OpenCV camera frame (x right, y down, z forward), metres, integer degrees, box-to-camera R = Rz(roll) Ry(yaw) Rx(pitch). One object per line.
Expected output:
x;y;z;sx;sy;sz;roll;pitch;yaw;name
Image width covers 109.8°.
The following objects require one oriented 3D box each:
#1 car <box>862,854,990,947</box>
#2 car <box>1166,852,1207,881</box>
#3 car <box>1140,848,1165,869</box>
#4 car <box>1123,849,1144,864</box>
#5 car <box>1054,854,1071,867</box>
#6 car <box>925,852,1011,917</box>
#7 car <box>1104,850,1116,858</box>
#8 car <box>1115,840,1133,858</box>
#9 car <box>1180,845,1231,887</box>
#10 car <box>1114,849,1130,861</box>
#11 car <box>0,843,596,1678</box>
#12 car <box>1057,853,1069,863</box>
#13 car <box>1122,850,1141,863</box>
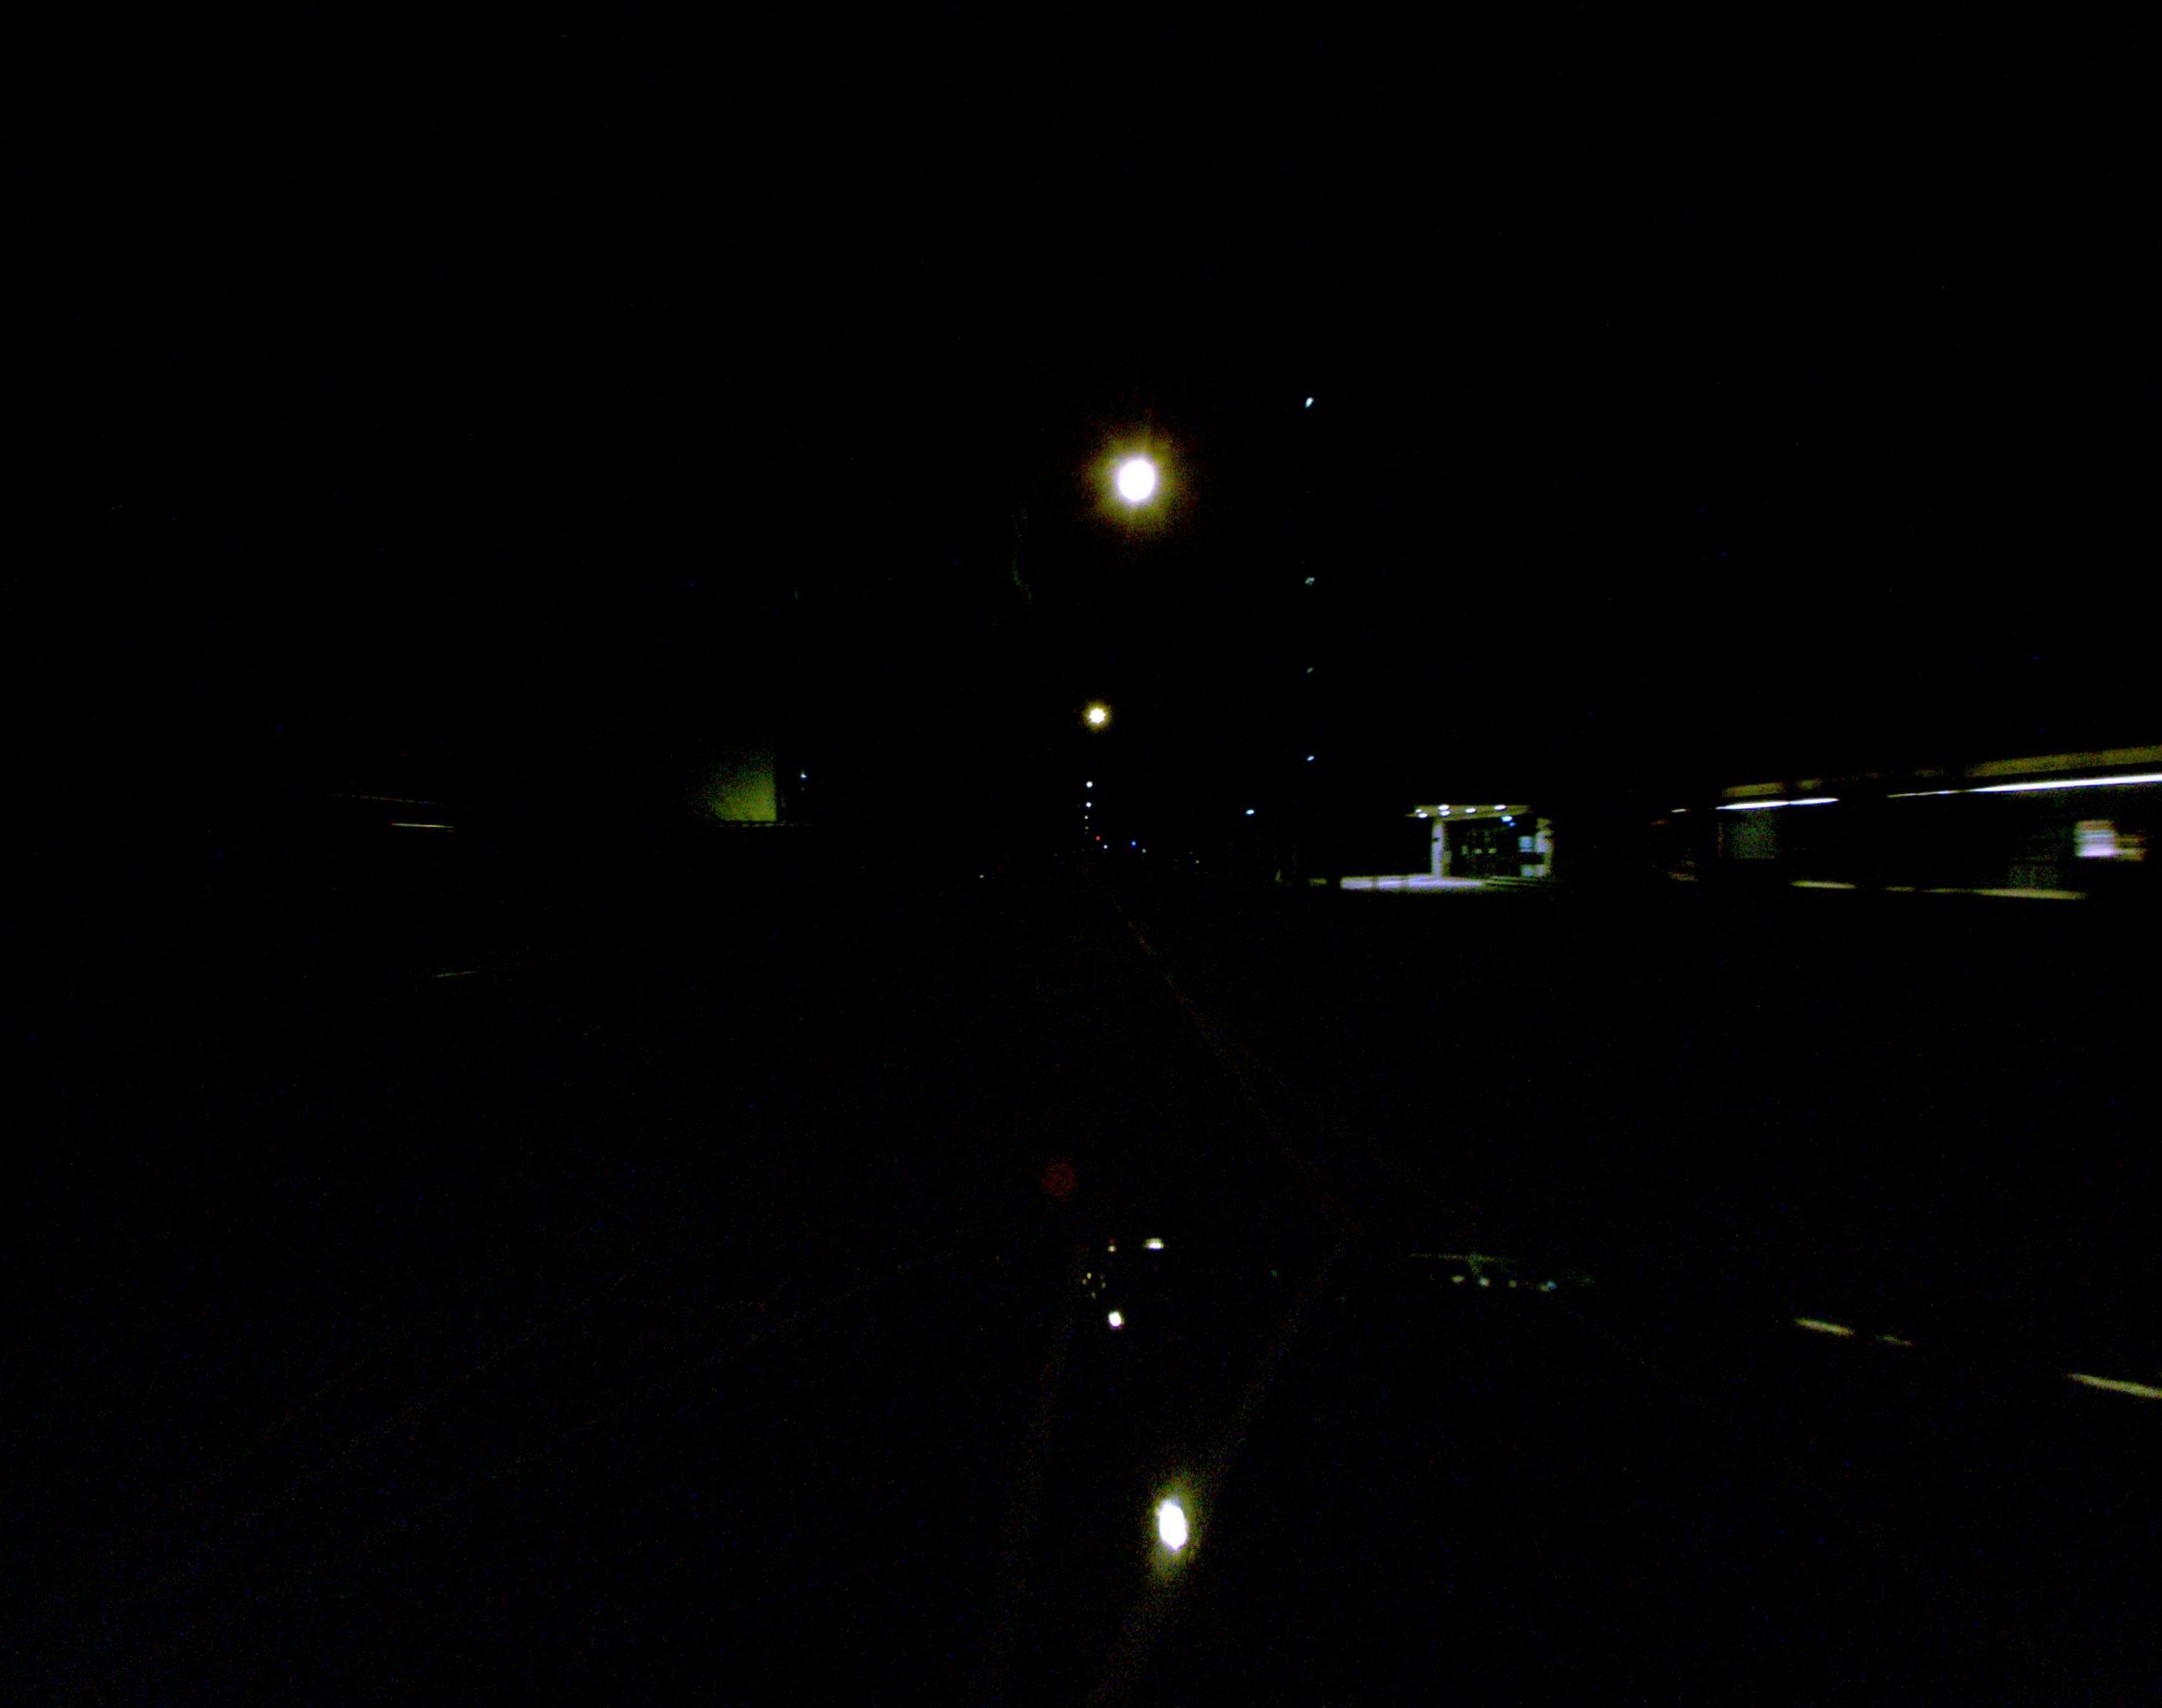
-3.040;0.848;15.687;1.934;1.655;3.773;1;0;-1;car
5.758;0.635;41.930;1.826;1.423;3.731;-3;0;2;car
5.958;0.358;63.855;1.826;1.637;3.731;-2;0;2;car
5.428;0.263;78.505;1.826;1.423;3.730;-3;0;-1;car
-2.090;0.723;87.569;1.826;1.423;3.730;-3;0;-1;car
-3.137;0.801;21.832;1.934;1.655;4.093;1;0;-1;car
5.227;0.025;137.373;1.826;1.423;3.730;-3;0;-1;car
6.141;-0.713;108.837;2.005;2.493;4.953;-3;0;-1;car
5.839;0.527;36.028;1.882;1.798;3.731;-3;0;2;car
5.207;0.070;97.261;1.826;1.423;3.730;-3;0;-1;car
-3.171;0.860;1.456;1.781;1.762;4.421;1;0;-2;car
-2.796;0.549;118.245;1.826;1.423;3.730;-3;0;-1;car
5.756;0.281;87.581;1.826;1.423;3.730;-3;0;-1;car
